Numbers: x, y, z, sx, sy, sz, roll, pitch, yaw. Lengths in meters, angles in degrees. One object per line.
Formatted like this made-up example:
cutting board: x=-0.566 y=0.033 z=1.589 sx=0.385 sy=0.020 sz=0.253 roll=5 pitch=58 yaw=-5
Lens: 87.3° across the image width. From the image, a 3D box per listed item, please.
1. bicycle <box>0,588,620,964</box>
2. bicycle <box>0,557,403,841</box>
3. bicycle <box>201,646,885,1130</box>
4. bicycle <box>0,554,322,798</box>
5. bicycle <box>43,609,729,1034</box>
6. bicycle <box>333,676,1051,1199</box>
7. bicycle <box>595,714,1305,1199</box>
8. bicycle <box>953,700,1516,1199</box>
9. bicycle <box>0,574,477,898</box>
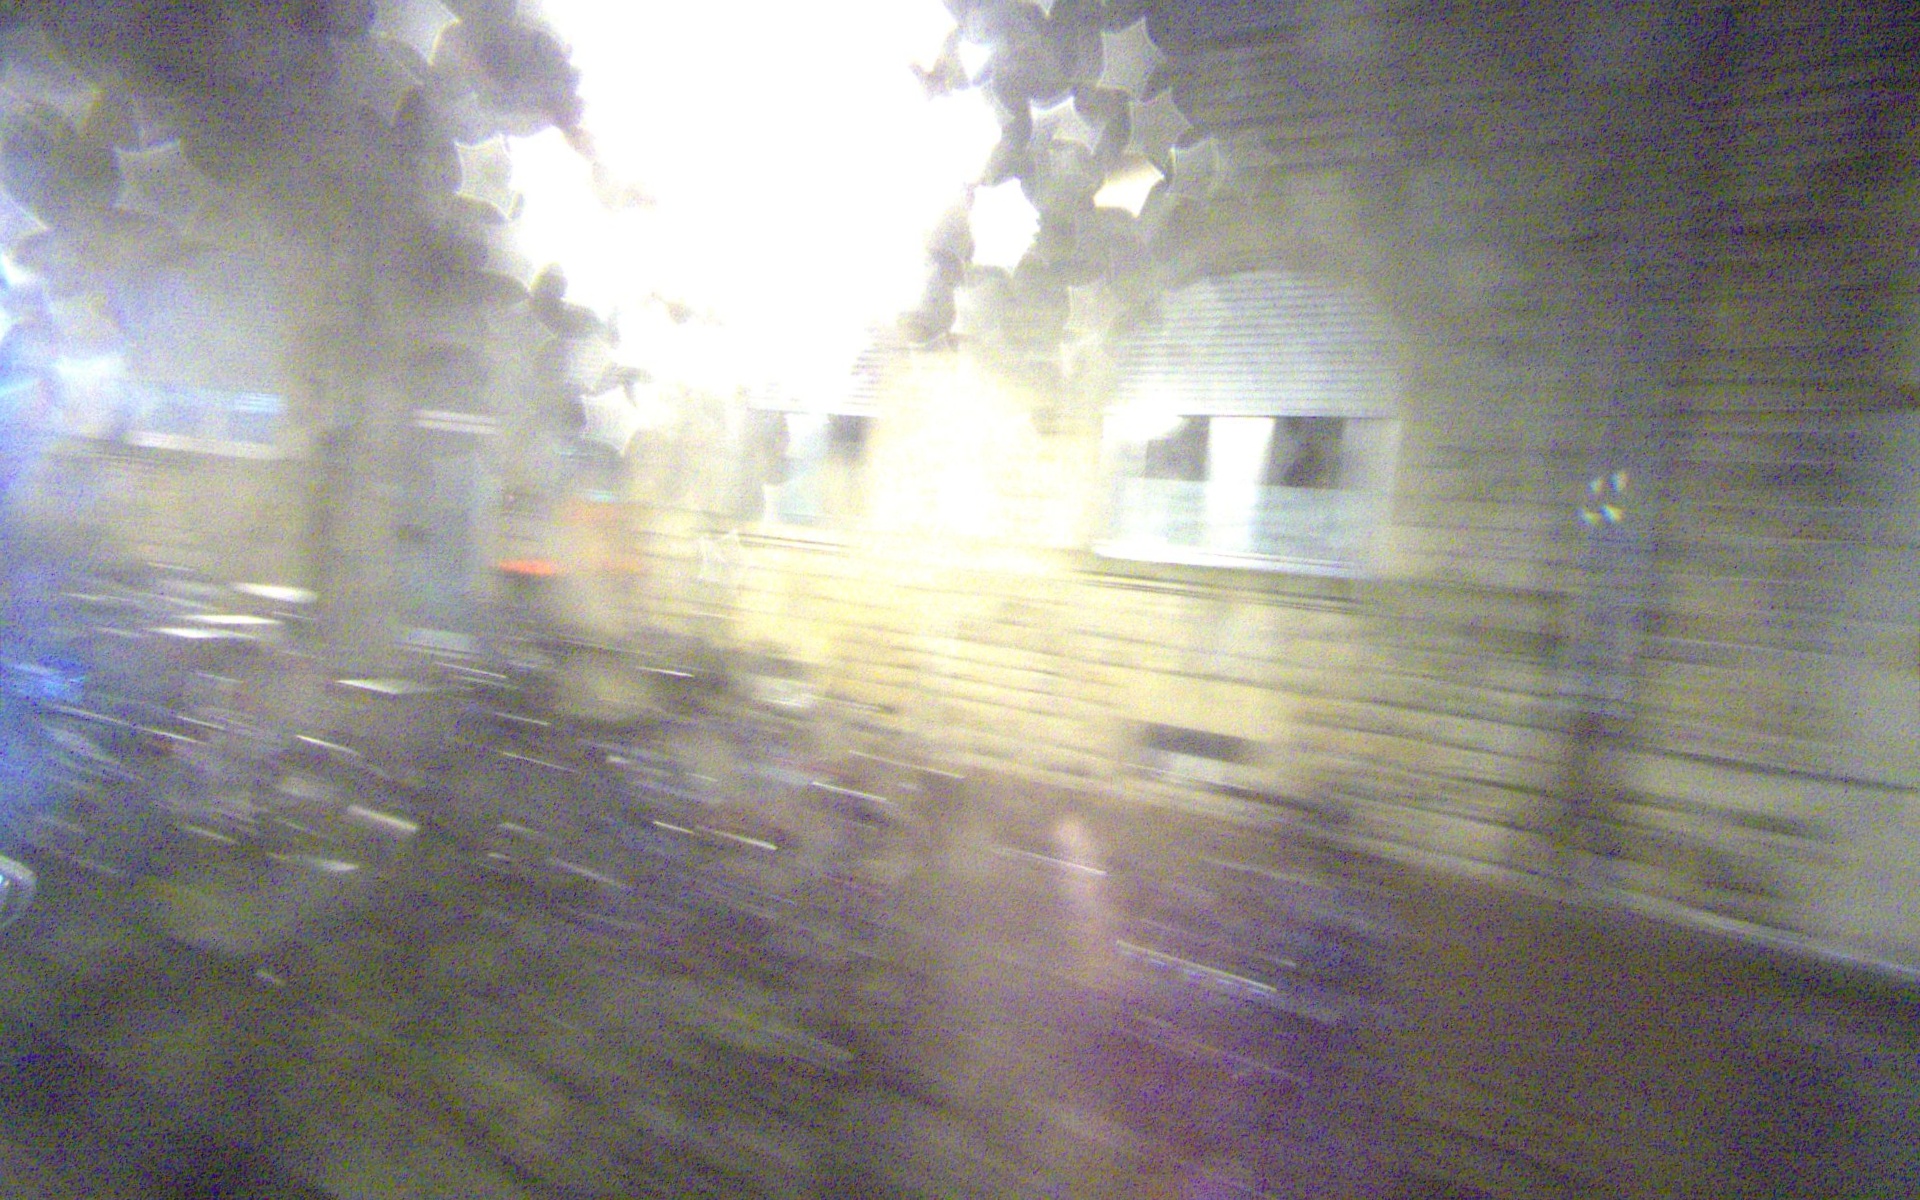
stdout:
bicycle: x=-2.361 y=0.549 z=3.848 sx=0.632 sy=1.019 sz=1.969 roll=7 pitch=1 yaw=33
bicycle: x=-3.628 y=0.393 z=4.388 sx=0.632 sy=1.047 sz=1.969 roll=7 pitch=1 yaw=33
bicycle: x=-1.132 y=0.709 z=3.255 sx=0.632 sy=1.019 sz=1.969 roll=7 pitch=1 yaw=33
bicycle: x=-4.237 y=0.331 z=4.713 sx=0.632 sy=1.019 sz=1.969 roll=7 pitch=1 yaw=33
bicycle: x=-1.802 y=0.616 z=3.541 sx=0.632 sy=1.019 sz=1.969 roll=7 pitch=1 yaw=33
bicycle: x=-0.542 y=0.783 z=2.876 sx=0.677 sy=1.019 sz=1.969 roll=7 pitch=1 yaw=33
bicycle: x=0.179 y=0.873 z=2.442 sx=0.718 sy=1.000 sz=1.927 roll=7 pitch=1 yaw=33
bicycle: x=0.833 y=0.891 z=2.487 sx=0.718 sy=1.129 sz=1.927 roll=7 pitch=1 yaw=33
bicycle: x=-3.045 y=0.470 z=3.945 sx=0.632 sy=1.019 sz=1.969 roll=7 pitch=1 yaw=33
